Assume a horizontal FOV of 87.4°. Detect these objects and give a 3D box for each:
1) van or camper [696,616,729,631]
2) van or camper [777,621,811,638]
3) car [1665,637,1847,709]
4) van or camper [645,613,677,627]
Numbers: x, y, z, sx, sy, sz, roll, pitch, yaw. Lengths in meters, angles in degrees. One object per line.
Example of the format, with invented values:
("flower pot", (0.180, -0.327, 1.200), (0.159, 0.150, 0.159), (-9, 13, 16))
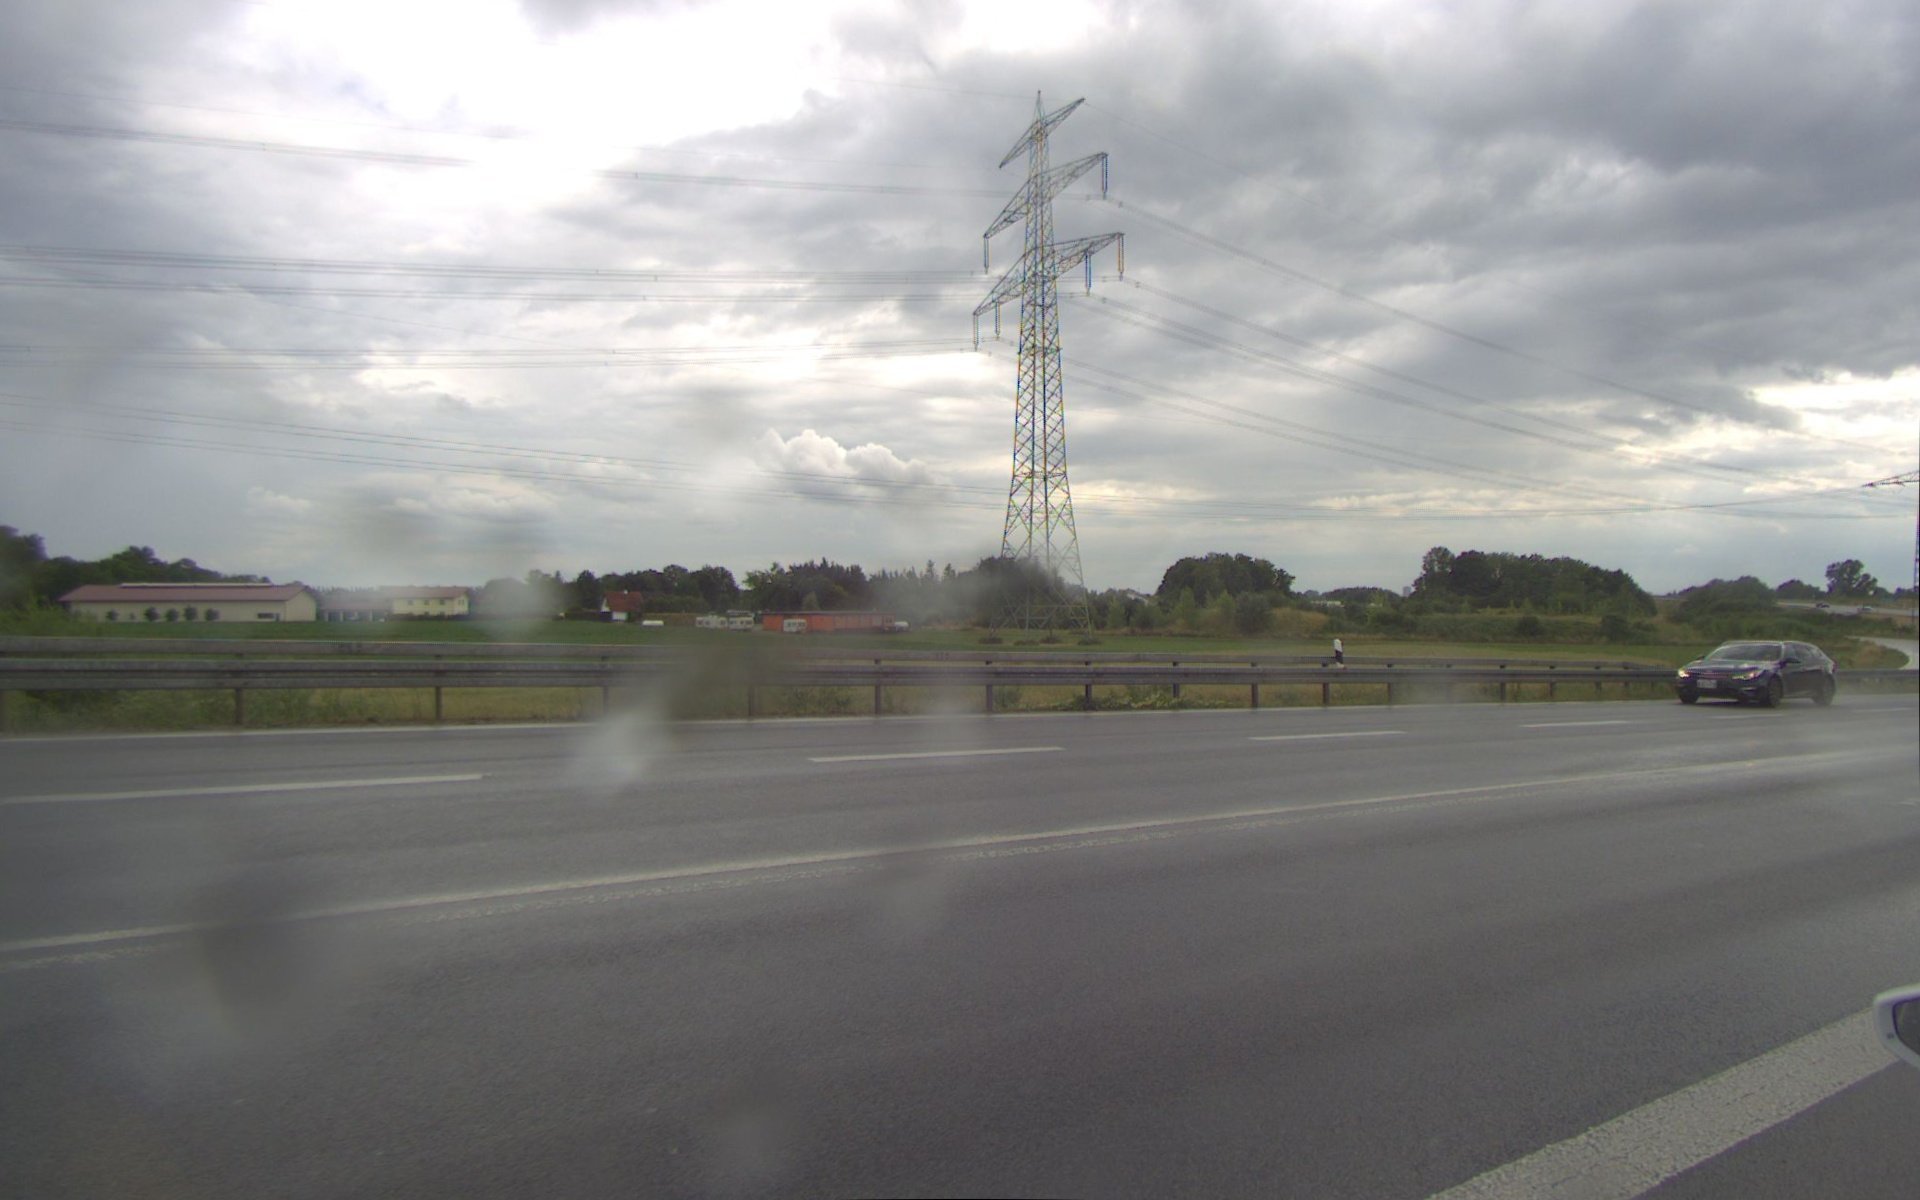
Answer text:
("van or camper", (-46.551, 4.398, 188.746), (2.296, 2.667, 5.683), (2, 0, 44))
("van or camper", (-27.734, 4.919, 168.107), (5.625, 2.667, 2.320), (2, 0, 37))
("car", (18.696, 1.667, 23.547), (4.679, 1.445, 1.762), (2, 0, -30))
("van or camper", (-60.323, 4.110, 202.677), (2.296, 2.667, 5.683), (2, 0, 44))
